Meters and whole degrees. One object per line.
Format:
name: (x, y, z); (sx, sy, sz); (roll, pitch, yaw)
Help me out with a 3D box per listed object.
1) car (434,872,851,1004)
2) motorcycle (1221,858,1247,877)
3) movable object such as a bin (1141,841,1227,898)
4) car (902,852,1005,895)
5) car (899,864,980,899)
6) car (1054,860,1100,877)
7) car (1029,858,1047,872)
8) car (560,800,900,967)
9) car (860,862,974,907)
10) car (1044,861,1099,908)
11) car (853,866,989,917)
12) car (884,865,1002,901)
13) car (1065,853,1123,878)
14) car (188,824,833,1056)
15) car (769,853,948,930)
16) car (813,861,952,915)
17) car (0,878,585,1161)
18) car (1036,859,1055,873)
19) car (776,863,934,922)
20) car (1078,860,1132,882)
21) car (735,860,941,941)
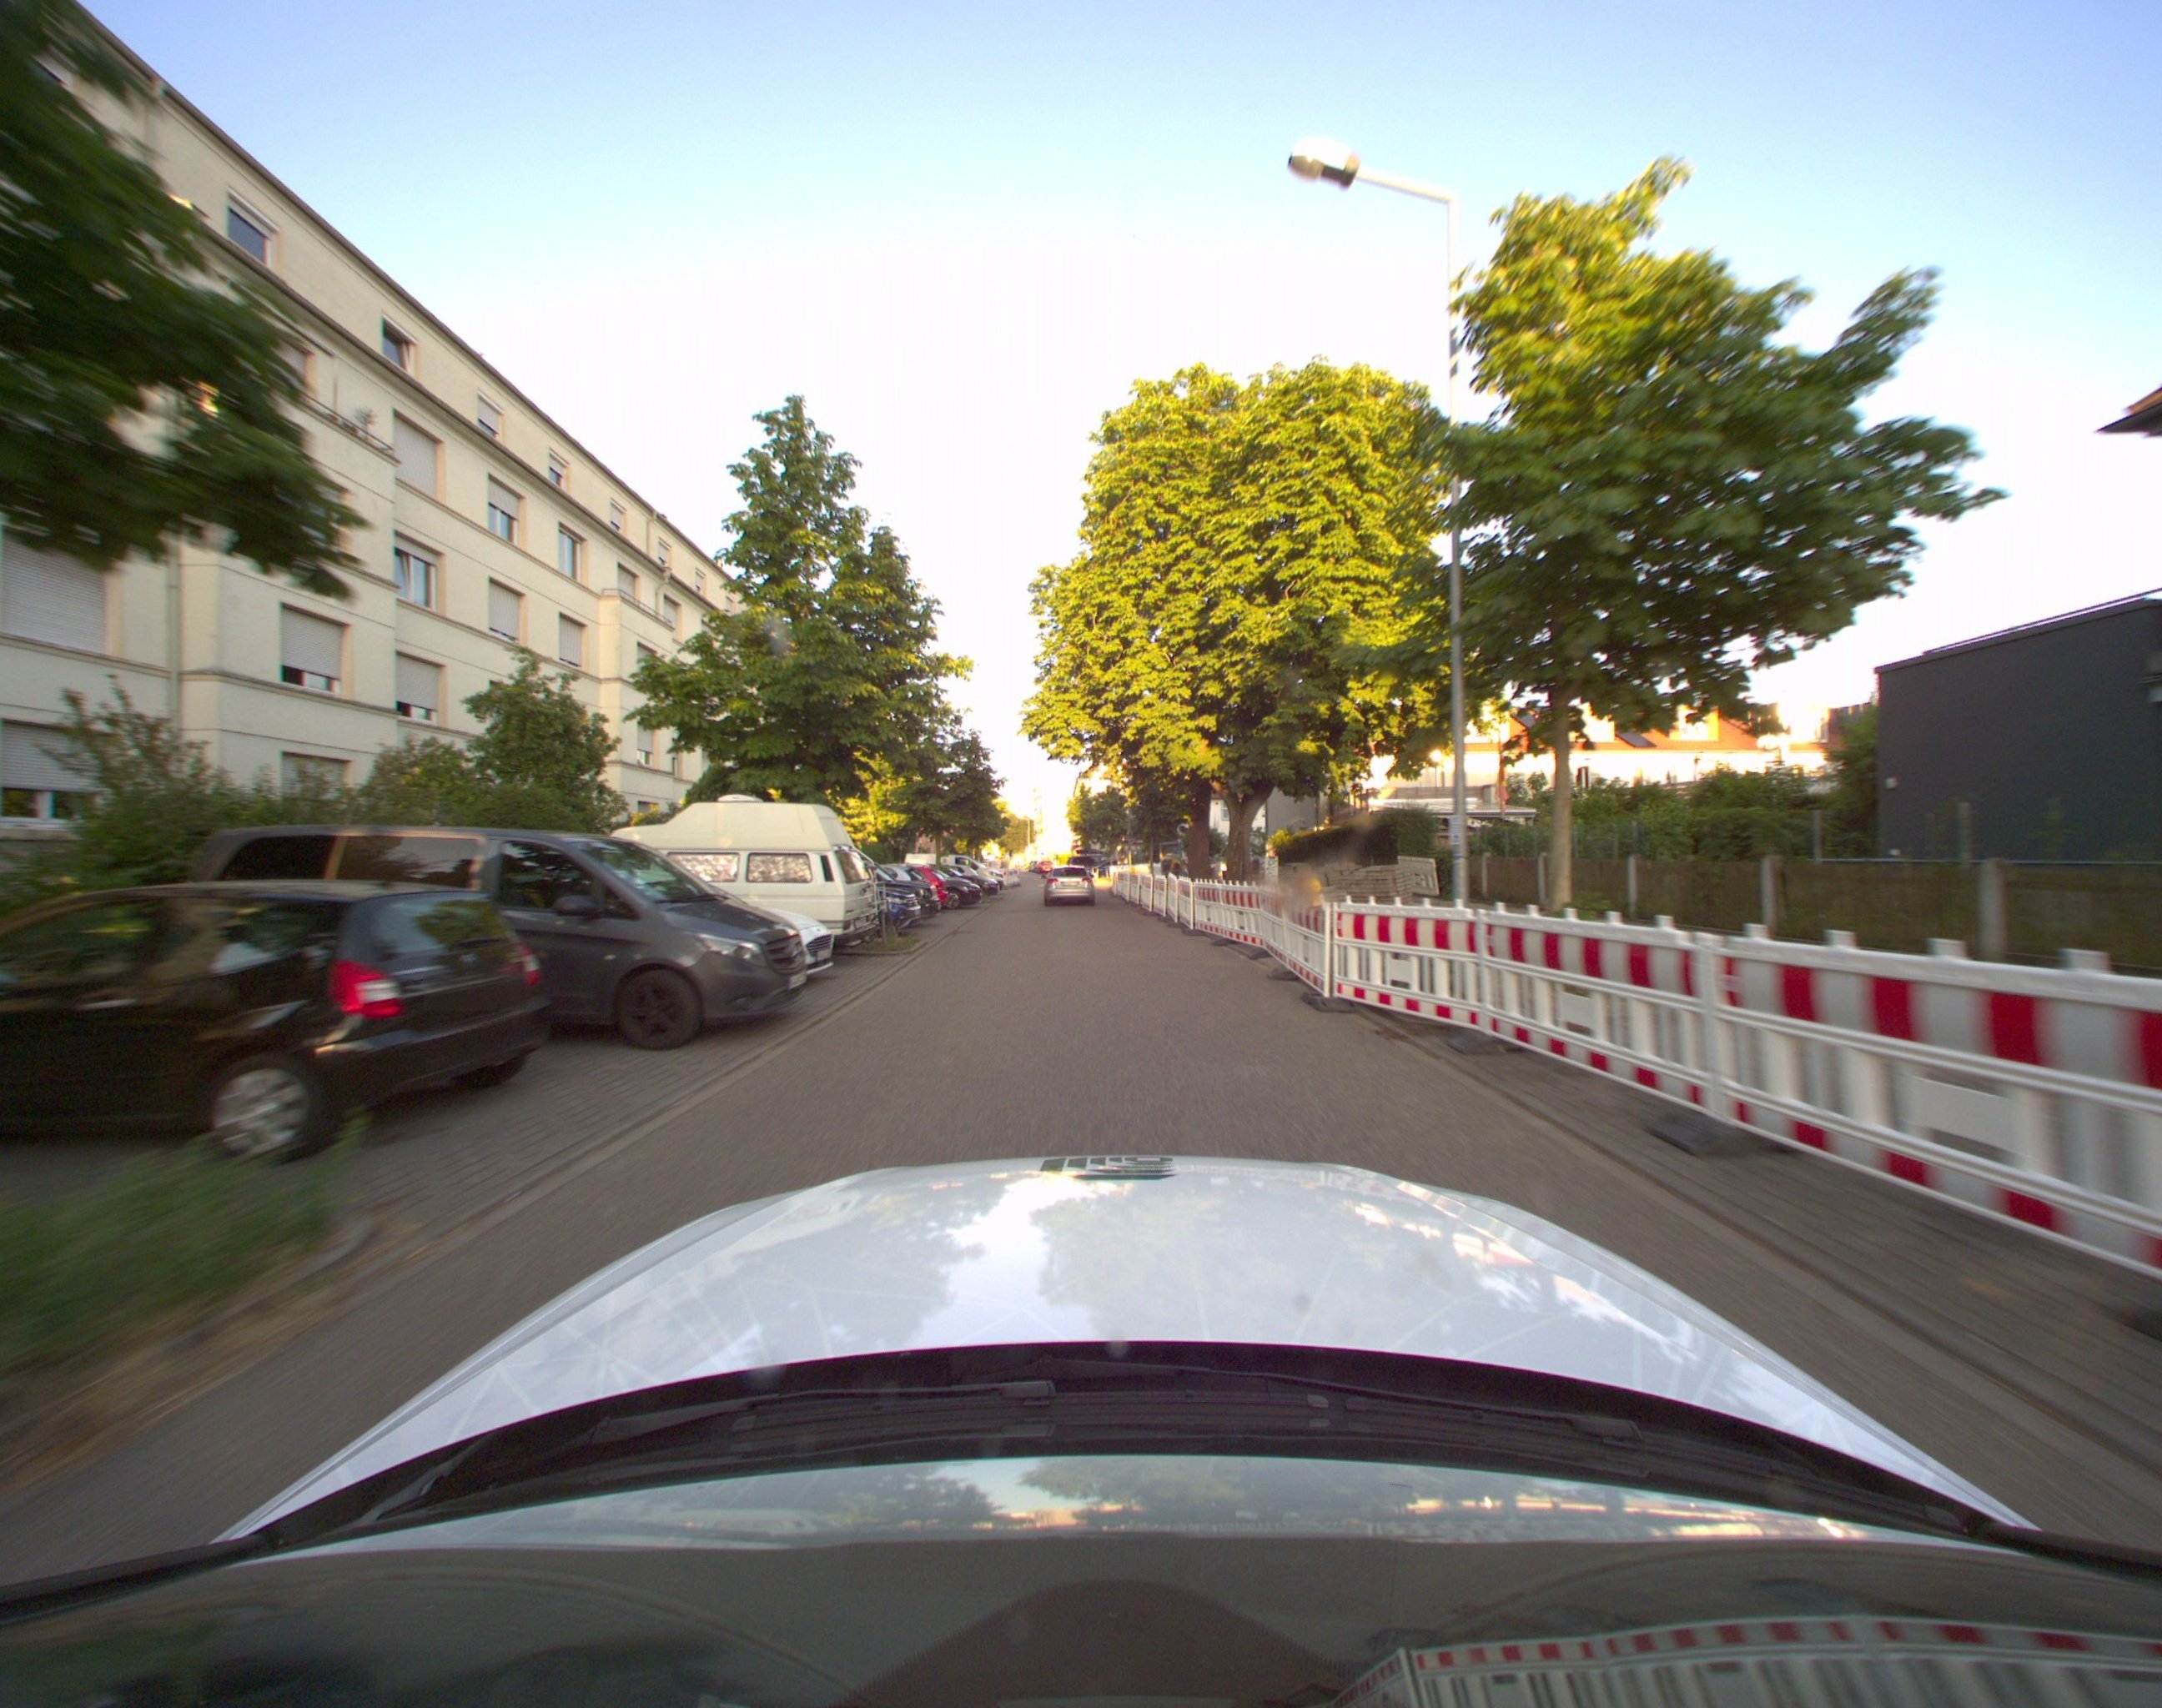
car: (-5.286, 0.978, 10.310); (4.162, 1.425, 1.999); (0, 0, -1)
motorcycle: (9.493, 0.837, 50.407); (1.857, 1.106, 0.574); (0, 0, -42)
movable object such as a bin: (4.592, 0.660, 37.306); (2.627, 2.403, 5.183); (0, 0, -8)
car: (-6.178, 0.922, 39.871); (4.762, 2.014, 1.997); (0, 0, -4)
car: (-6.450, 1.242, 37.333); (3.405, 1.484, 1.757); (0, 0, -2)
car: (-0.401, 1.418, 78.890); (4.155, 1.572, 1.789); (0, 0, -14)
car: (-5.131, 1.273, 96.756); (1.807, 1.613, 3.571); (0, 0, -7)
car: (-5.350, 0.432, 12.924); (4.489, 2.431, 1.999); (0, 0, -1)
car: (-6.043, 1.114, 30.379); (3.983, 1.578, 1.797); (0, 0, -7)
car: (-0.394, 1.038, 29.323); (1.803, 1.488, 3.997); (-2, 0, -2)
car: (-5.366, 1.232, 27.805); (4.402, 1.615, 1.895); (0, 0, -7)
car: (-5.790, 1.211, 34.599); (4.762, 1.470, 1.879); (0, -1, -4)
car: (1.083, 0.937, 68.966); (4.559, 2.023, 2.093); (0, 0, -12)
car: (-5.004, 0.706, 7.749); (4.660, 1.873, 1.999); (0, 0, -1)
car: (-5.367, 0.874, 19.988); (3.848, 1.777, 1.843); (0, 0, 0)
car: (-6.126, 1.035, 25.500); (3.979, 1.583, 1.729); (0, 0, -4)
car: (-5.511, 0.893, 5.098); (3.756, 1.439, 1.655); (0, 0, 0)
car: (-3.818, 1.245, 86.488); (1.729, 1.483, 3.548); (0, 0, -7)
car: (-6.204, 1.040, 22.742); (3.981, 1.524, 1.786); (0, 0, -6)
car: (1.890, 1.334, 64.137); (3.992, 1.651, 1.756); (0, 0, -14)
car: (-5.095, 0.948, 17.441); (3.848, 1.595, 1.785); (0, 0, 0)
